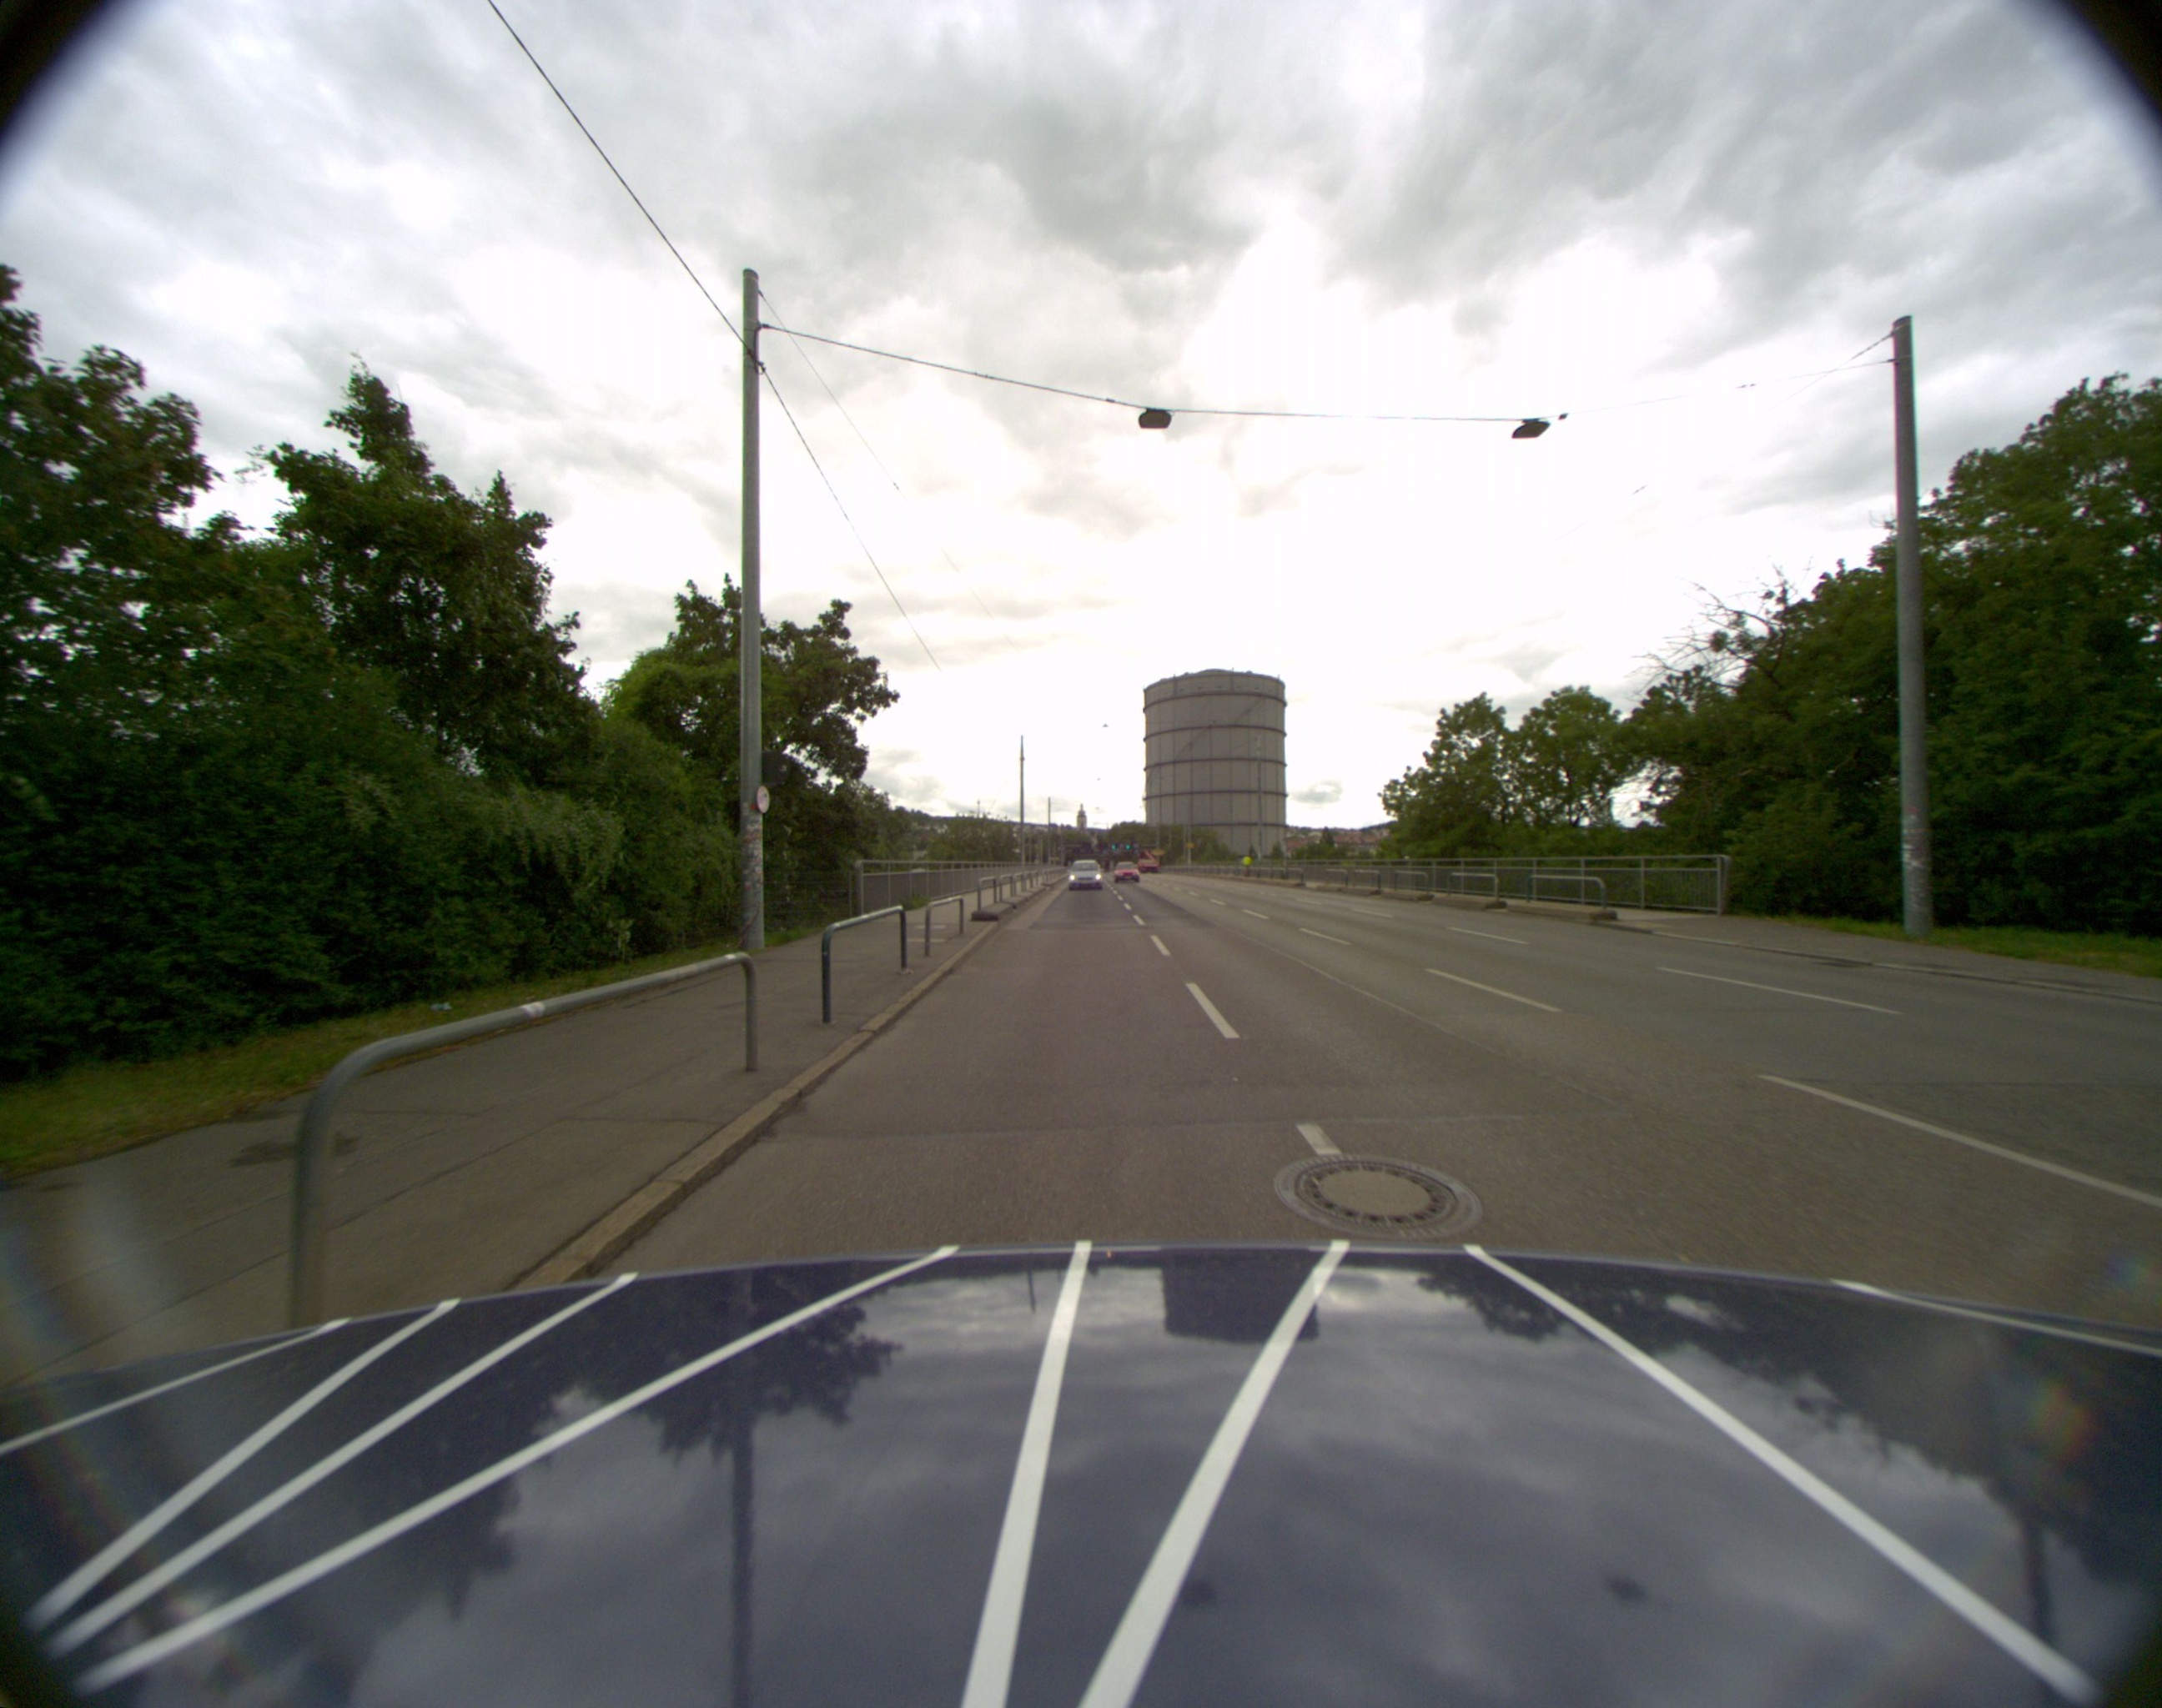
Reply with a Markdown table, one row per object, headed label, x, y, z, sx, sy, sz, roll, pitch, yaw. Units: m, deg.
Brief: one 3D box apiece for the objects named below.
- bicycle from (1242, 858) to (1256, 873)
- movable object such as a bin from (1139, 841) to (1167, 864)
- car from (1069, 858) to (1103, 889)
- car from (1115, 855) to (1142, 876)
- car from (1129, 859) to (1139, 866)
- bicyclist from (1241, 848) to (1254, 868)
| label | x | y | z | sx | sy | sz | roll | pitch | yaw |
| --- | --- | --- | --- | --- | --- | --- | --- | --- | --- |
| bicycle | 12.990 | 0.869 | 58.923 | 0.636 | 1.058 | 1.983 | -8 | -1 | 3 |
| movable object such as a bin | 10.985 | -0.249 | 116.364 | 3.464 | 3.303 | 9.359 | 1 | 0 | 1 |
| car | 0.309 | 1.032 | 41.652 | 1.771 | 1.565 | 4.000 | 0 | 1 | 1 |
| car | 3.333 | 0.798 | 53.831 | 1.696 | 1.434 | 4.000 | 1 | 0 | 1 |
| car | 10.475 | 1.689 | 149.506 | 1.696 | 1.434 | 3.798 | 1 | 0 | -1 |
| bicyclist | 12.917 | 0.273 | 58.955 | 0.627 | 1.467 | 0.670 | -8 | 0 | 3 |
